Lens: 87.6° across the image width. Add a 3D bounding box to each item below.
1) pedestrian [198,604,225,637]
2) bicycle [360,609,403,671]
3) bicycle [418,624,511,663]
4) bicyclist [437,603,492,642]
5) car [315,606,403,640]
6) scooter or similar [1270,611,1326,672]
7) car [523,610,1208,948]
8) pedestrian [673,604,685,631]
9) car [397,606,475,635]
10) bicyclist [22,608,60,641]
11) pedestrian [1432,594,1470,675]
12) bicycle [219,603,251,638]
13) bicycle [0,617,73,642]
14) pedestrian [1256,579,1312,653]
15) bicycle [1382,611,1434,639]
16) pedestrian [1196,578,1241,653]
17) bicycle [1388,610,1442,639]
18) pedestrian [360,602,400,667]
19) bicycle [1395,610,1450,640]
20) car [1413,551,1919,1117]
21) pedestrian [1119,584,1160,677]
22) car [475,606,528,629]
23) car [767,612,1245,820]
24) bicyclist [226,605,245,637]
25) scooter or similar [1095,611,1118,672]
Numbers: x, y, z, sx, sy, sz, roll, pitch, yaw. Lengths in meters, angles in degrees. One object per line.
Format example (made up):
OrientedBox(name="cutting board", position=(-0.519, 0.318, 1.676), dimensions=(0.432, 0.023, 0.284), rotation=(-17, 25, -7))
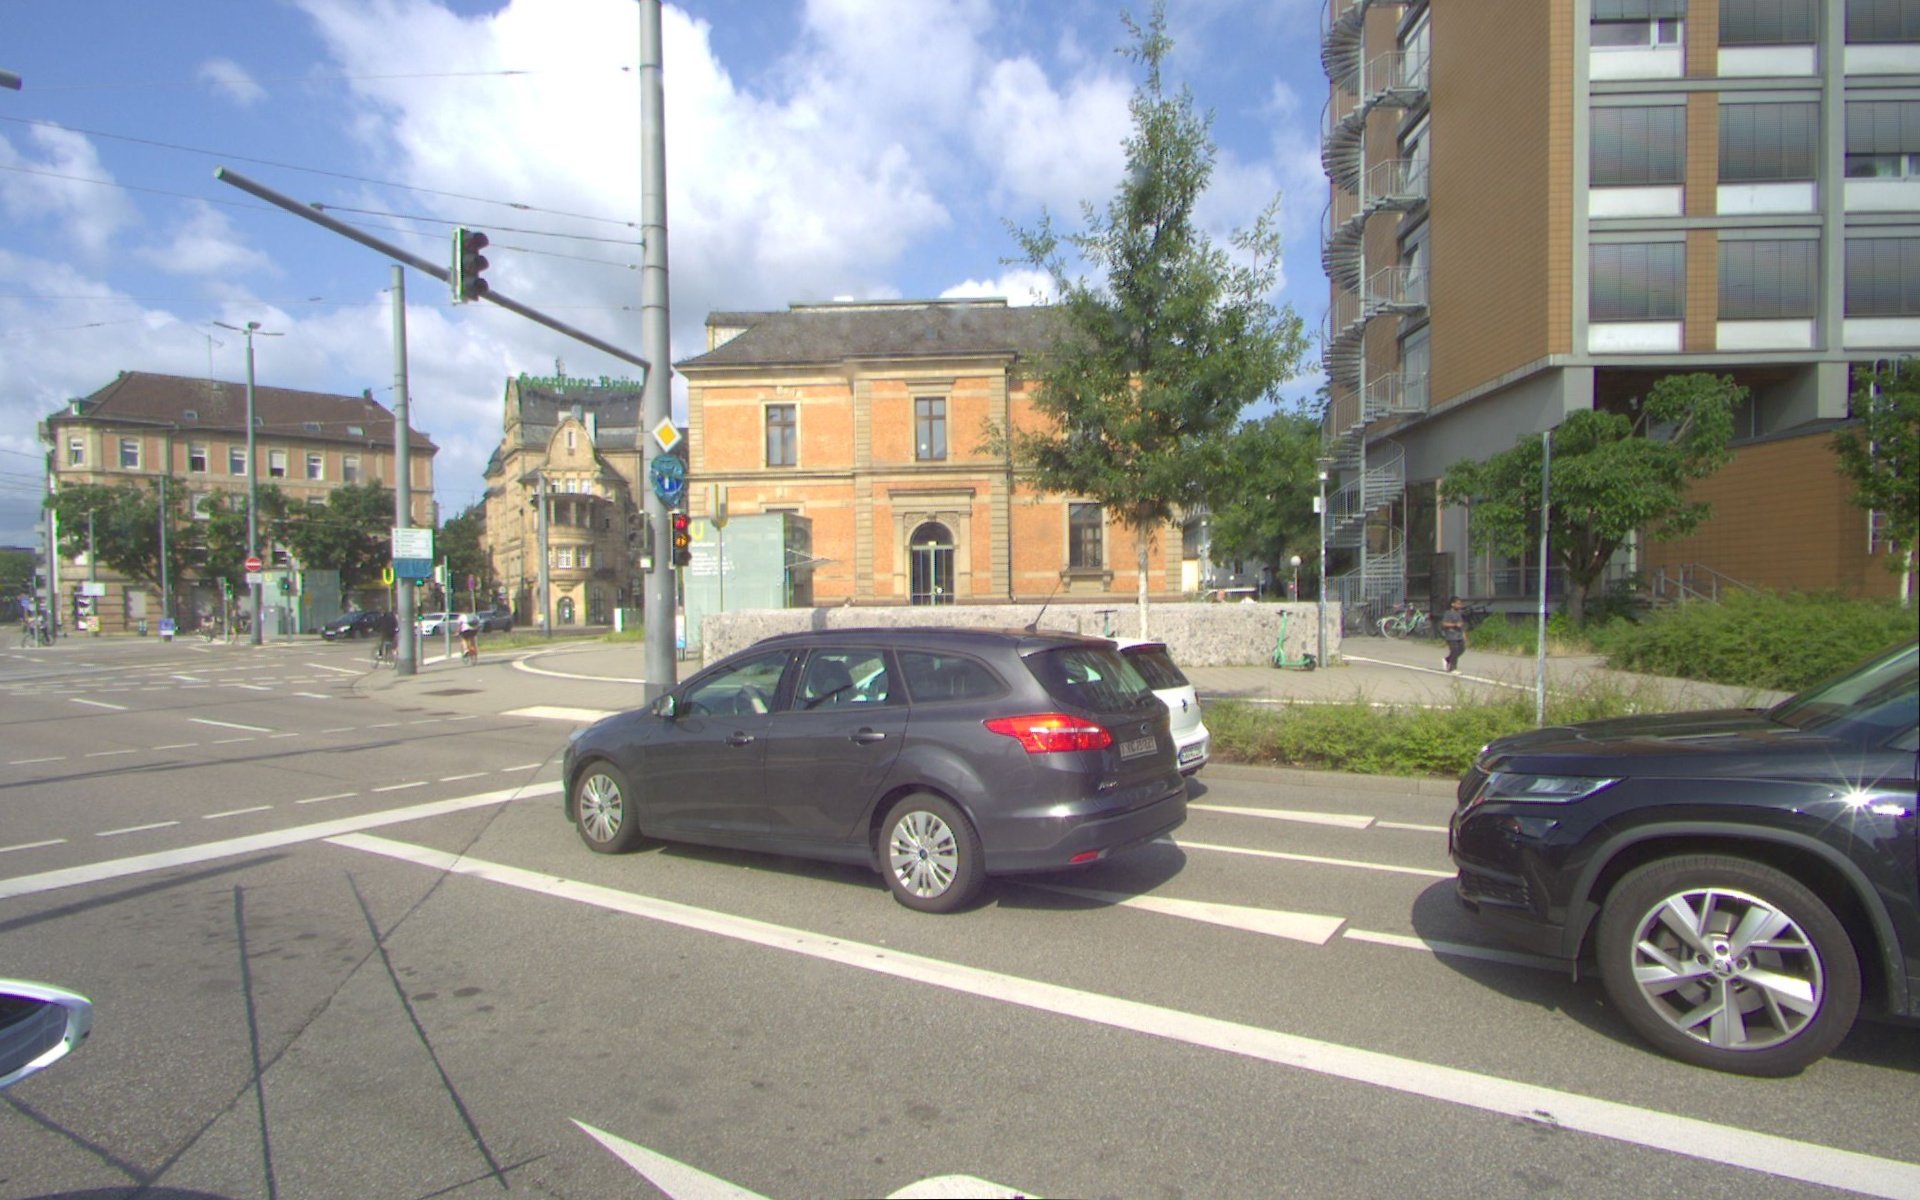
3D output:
OrientedBox(name="pedestrian", position=(-41.910, 1.140, 56.050), dimensions=(0.872, 1.833, 0.866), rotation=(-1, -1, 21))
OrientedBox(name="bicycle", position=(-17.041, 1.166, 29.444), dimensions=(0.995, 1.747, 2.455), rotation=(1, -2, -32))
OrientedBox(name="bicycle", position=(-14.526, 1.295, 29.313), dimensions=(3.066, 1.040, 0.991), rotation=(-4, -4, 32))
OrientedBox(name="bicyclist", position=(-14.516, 0.666, 29.332), dimensions=(1.198, 1.040, 0.989), rotation=(-4, -4, 32))
OrientedBox(name="car", position=(-32.922, 1.294, 55.029), dimensions=(1.961, 1.761, 4.343), rotation=(0, -2, 5))
OrientedBox(name="scooter or similar", position=(6.704, 0.810, 19.907), dimensions=(0.396, 1.146, 1.184), rotation=(-1, 1, -19))
OrientedBox(name="car", position=(-0.726, 0.848, 6.449), dimensions=(4.194, 1.548, 1.764), rotation=(-1, 0, 32))
OrientedBox(name="pedestrian", position=(-16.057, 0.999, 57.209), dimensions=(0.497, 1.525, 0.499), rotation=(-1, 1, -2))
OrientedBox(name="car", position=(-32.043, 1.224, 61.369), dimensions=(1.961, 1.617, 4.683), rotation=(0, 0, 6))
OrientedBox(name="bicyclist", position=(-46.927, 1.239, 51.146), dimensions=(0.773, 1.680, 1.193), rotation=(0, 0, 26))
OrientedBox(name="pedestrian", position=(9.537, 0.662, 19.446), dimensions=(0.573, 1.541, 0.476), rotation=(-1, 1, 36))
OrientedBox(name="bicycle", position=(-38.295, 1.066, 52.897), dimensions=(1.612, 1.801, 0.728), rotation=(0, 1, 29))
OrientedBox(name="bicycle", position=(-47.037, 1.501, 50.965), dimensions=(0.886, 1.186, 2.671), rotation=(0, 0, 26))
OrientedBox(name="pedestrian", position=(7.351, 0.342, 22.728), dimensions=(0.753, 1.610, 0.934), rotation=(-3, 3, -27))
OrientedBox(name="bicycle", position=(14.937, 0.832, 33.404), dimensions=(1.520, 0.916, 0.459), rotation=(-1, 0, 5))
OrientedBox(name="pedestrian", position=(5.769, 0.337, 22.302), dimensions=(0.754, 1.610, 0.768), rotation=(0, 4, 32))
OrientedBox(name="bicycle", position=(14.873, 0.810, 32.774), dimensions=(1.520, 0.916, 0.459), rotation=(-1, 0, 5))
OrientedBox(name="pedestrian", position=(-17.129, 1.023, 29.558), dimensions=(0.982, 1.865, 0.990), rotation=(1, -1, -32))
OrientedBox(name="bicycle", position=(14.819, 0.806, 32.133), dimensions=(1.520, 0.916, 0.459), rotation=(-1, 0, 5))
OrientedBox(name="car", position=(4.164, 0.683, 3.352), dimensions=(4.616, 1.690, 1.990), rotation=(-2, -1, 32))
OrientedBox(name="pedestrian", position=(4.053, 0.674, 22.611), dimensions=(0.792, 2.041, 0.724), rotation=(-2, 2, 7))
OrientedBox(name="car", position=(-33.710, 1.264, 73.676), dimensions=(1.721, 1.621, 3.999), rotation=(-1, 0, 7))
OrientedBox(name="car", position=(0.328, 0.931, 9.369), dimensions=(4.172, 1.464, 1.676), rotation=(1, -2, 34))
OrientedBox(name="bicyclist", position=(-38.207, 1.116, 52.836), dimensions=(0.646, 1.693, 0.571), rotation=(0, 1, 29))
OrientedBox(name="scooter or similar", position=(3.041, 0.851, 20.827), dimensions=(0.395, 1.212, 1.186), rotation=(-1, 1, 6))
